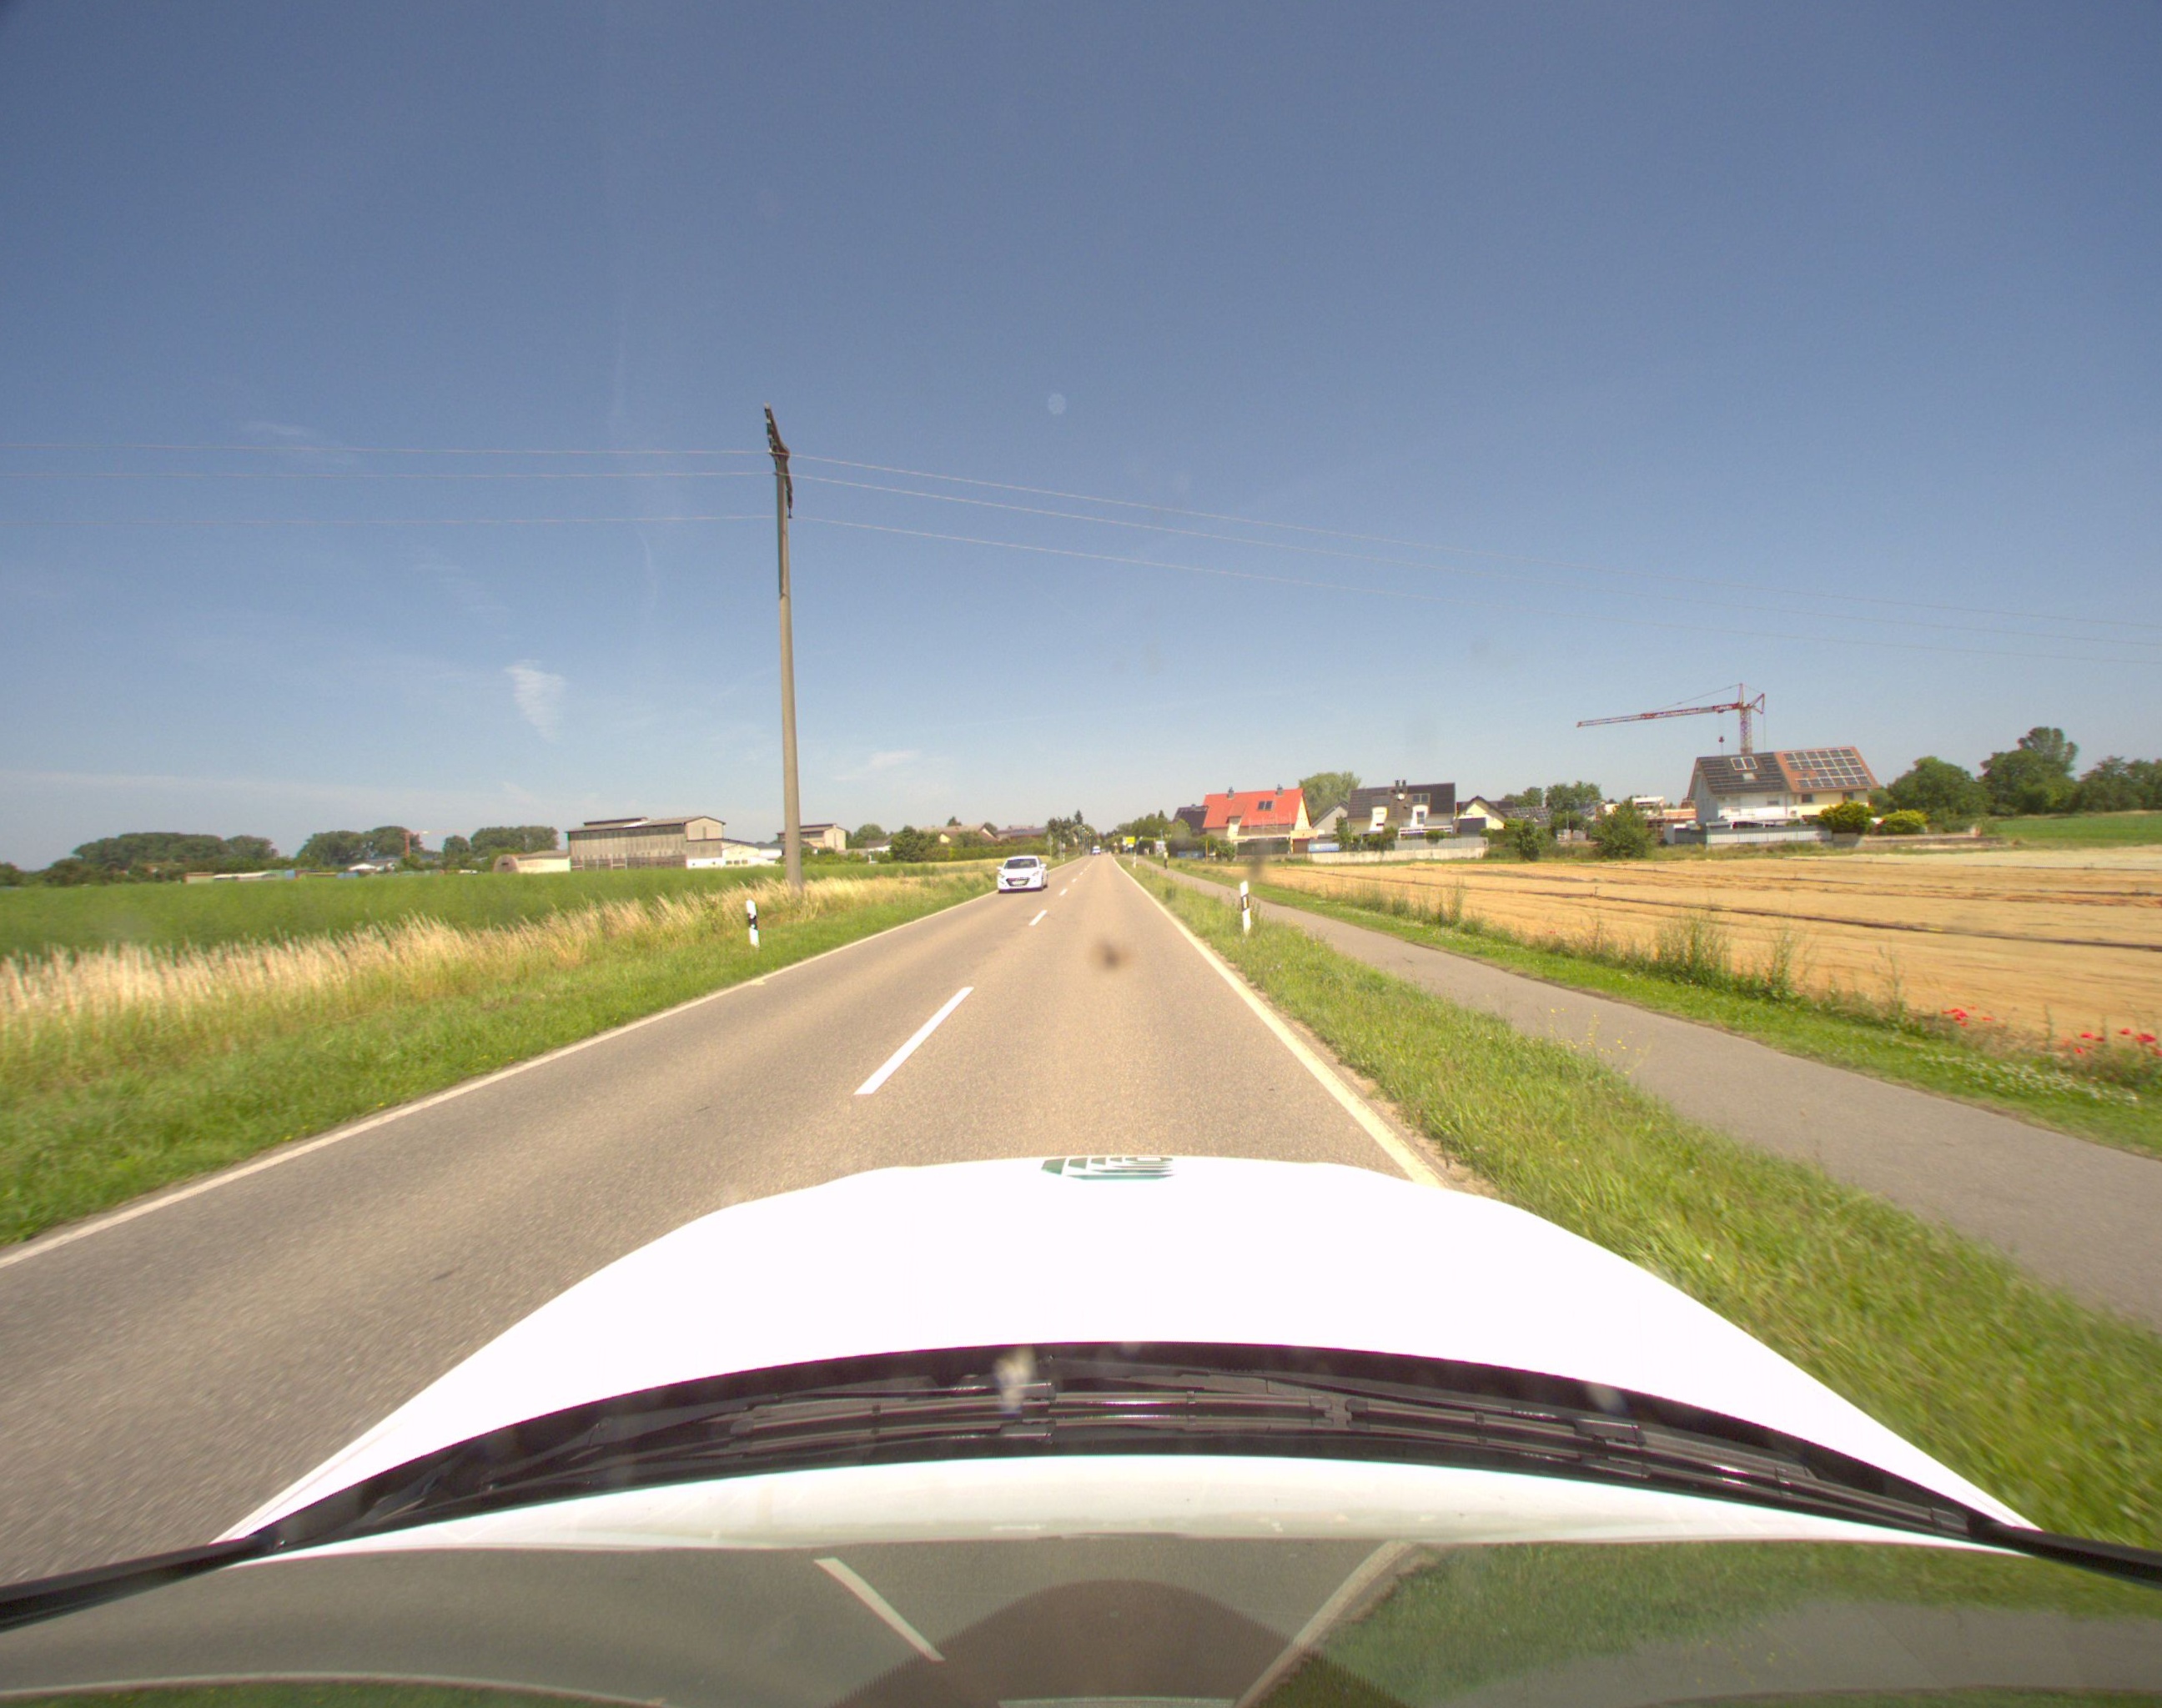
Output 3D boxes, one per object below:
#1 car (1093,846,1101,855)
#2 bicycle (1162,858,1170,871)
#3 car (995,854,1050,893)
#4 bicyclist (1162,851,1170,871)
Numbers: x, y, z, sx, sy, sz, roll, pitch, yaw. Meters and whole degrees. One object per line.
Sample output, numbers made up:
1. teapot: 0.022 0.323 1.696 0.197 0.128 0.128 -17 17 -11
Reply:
1. car: 4.784 -0.984 238.922 2.070 2.542 5.875 -3 1 1
2. bicycle: 8.019 0.992 76.880 0.608 1.158 2.275 -1 1 1
3. car: -2.376 0.766 34.017 1.785 1.409 4.187 -3 0 1
4. bicyclist: 8.020 0.626 76.766 0.642 1.889 0.861 -1 1 1
